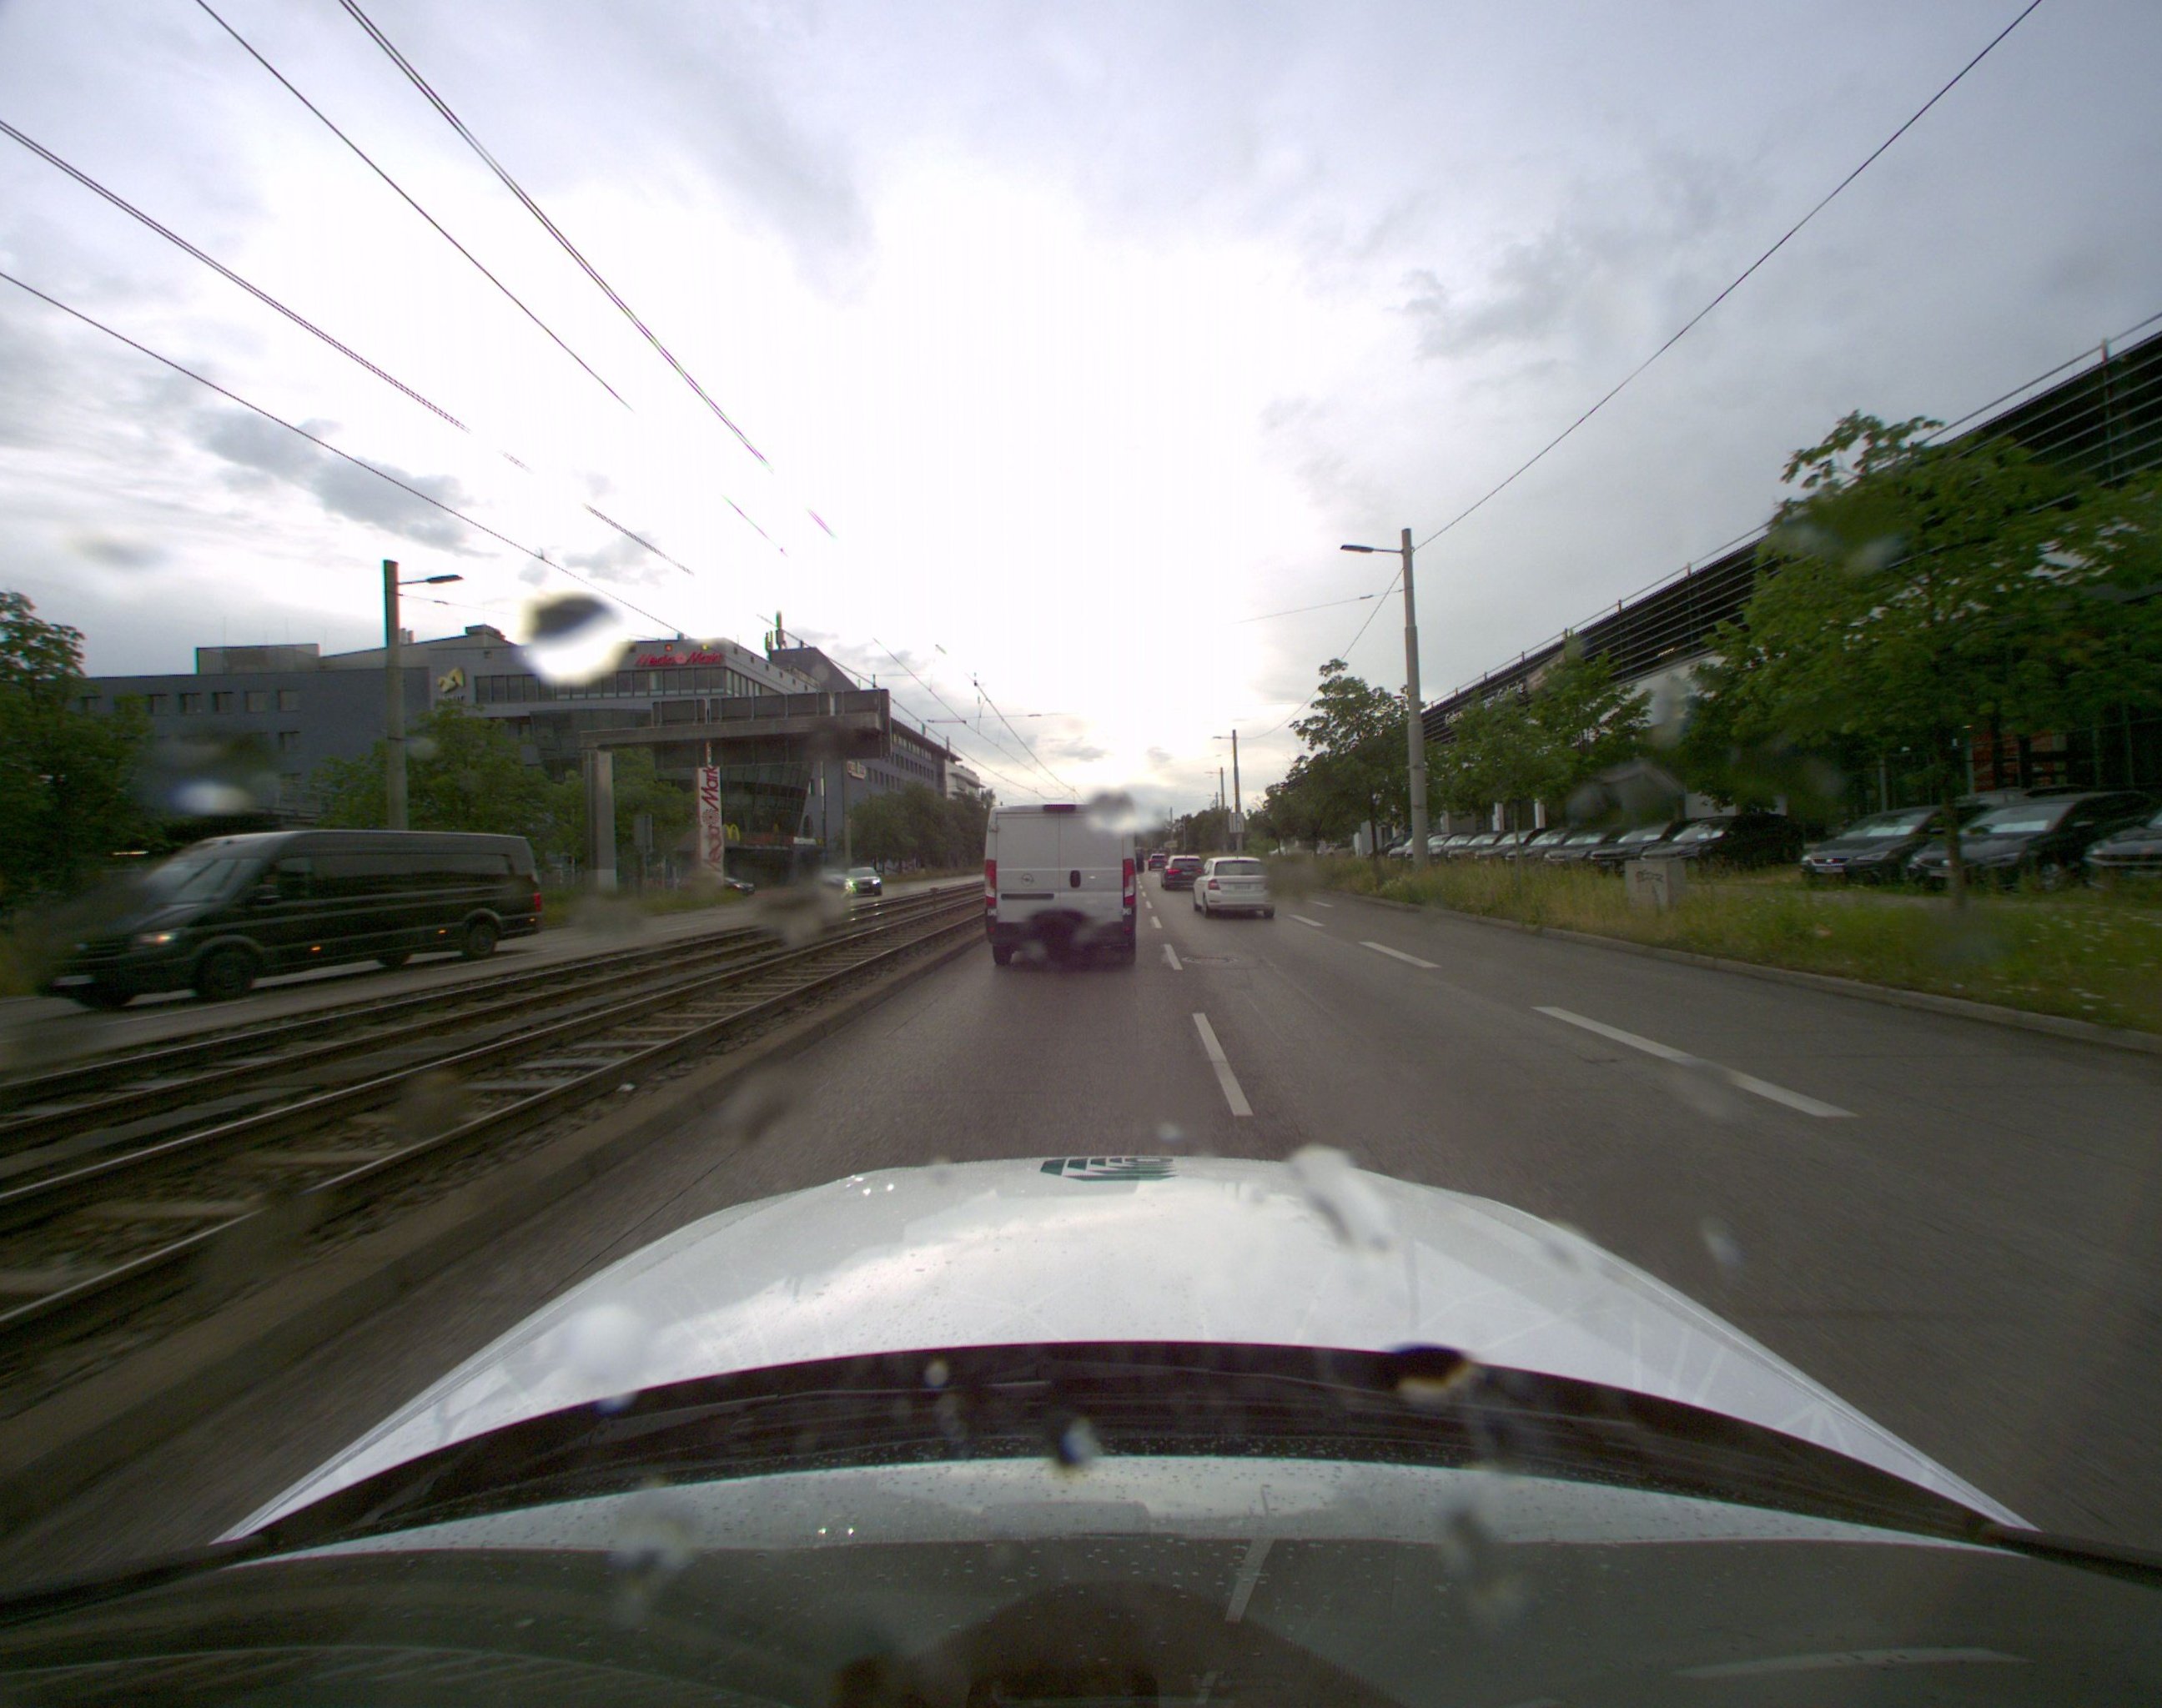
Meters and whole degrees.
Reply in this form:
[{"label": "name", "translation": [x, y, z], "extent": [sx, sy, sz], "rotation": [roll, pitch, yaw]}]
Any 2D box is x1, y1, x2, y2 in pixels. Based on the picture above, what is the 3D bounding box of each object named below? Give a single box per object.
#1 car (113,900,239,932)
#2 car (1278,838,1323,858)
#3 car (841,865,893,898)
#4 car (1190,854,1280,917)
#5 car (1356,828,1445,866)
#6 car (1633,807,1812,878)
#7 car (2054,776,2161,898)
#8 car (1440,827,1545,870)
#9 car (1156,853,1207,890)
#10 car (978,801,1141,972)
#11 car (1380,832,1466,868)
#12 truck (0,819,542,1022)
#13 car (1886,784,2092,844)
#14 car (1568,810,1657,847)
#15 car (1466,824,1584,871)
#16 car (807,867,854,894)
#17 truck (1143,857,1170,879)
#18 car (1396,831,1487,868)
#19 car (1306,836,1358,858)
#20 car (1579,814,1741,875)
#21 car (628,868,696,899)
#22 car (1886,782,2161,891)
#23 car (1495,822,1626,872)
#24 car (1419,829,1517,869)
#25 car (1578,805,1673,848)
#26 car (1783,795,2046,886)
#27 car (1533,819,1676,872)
[{"label": "car", "translation": [-44.877, 3.037, 40.460], "extent": [1.642, 1.282, 4.134], "rotation": [0, 0, 41]}, {"label": "car", "translation": [20.945, -0.559, 77.566], "extent": [4.116, 1.568, 1.780], "rotation": [-4, -1, -33]}, {"label": "car", "translation": [-10.605, 1.323, 40.624], "extent": [1.801, 1.429, 4.226], "rotation": [-4, 0, -7]}, {"label": "car", "translation": [3.807, 0.730, 20.634], "extent": [1.739, 1.457, 3.673], "rotation": [0, 0, 2]}, {"label": "car", "translation": [18.918, -0.385, 48.227], "extent": [4.662, 1.876, 1.836], "rotation": [-4, 0, 27]}, {"label": "car", "translation": [17.325, -0.304, 22.023], "extent": [4.054, 1.576, 1.723], "rotation": [-4, 0, -17]}, {"label": "car", "translation": [16.944, -0.384, 11.623], "extent": [4.484, 1.663, 1.816], "rotation": [-4, 0, -9]}, {"label": "car", "translation": [18.170, -0.246, 35.970], "extent": [4.155, 1.569, 1.813], "rotation": [-4, 0, -22]}, {"label": "car", "translation": [4.176, 0.693, 34.374], "extent": [1.782, 1.449, 4.003], "rotation": [-1, 0, 2]}, {"label": "car", "translation": [-0.135, 0.431, 13.053], "extent": [2.082, 2.196, 5.065], "rotation": [-1, 0, 3]}, {"label": "car", "translation": [18.682, -0.225, 44.508], "extent": [4.344, 1.612, 1.853], "rotation": [-4, 0, -26]}, {"label": "truck", "translation": [-13.215, 0.900, 14.396], "extent": [2.229, 2.564, 7.021], "rotation": [-4, 0, 3]}, {"label": "car", "translation": [26.000, -1.091, 23.555], "extent": [1.659, 1.472, 3.901], "rotation": [-3, 0, 2]}, {"label": "car", "translation": [31.989, -1.524, 49.068], "extent": [4.010, 1.976, 1.946], "rotation": [-3, 0, 2]}, {"label": "car", "translation": [18.017, -0.253, 33.085], "extent": [4.153, 1.569, 1.896], "rotation": [-4, 0, -20]}, {"label": "car", "translation": [-15.910, 1.659, 51.687], "extent": [1.613, 1.536, 2.914], "rotation": [-6, 2, -44]}, {"label": "truck", "translation": [6.713, 1.221, 72.845], "extent": [1.986, 1.790, 4.415], "rotation": [-3, 0, 1]}, {"label": "car", "translation": [18.439, -0.206, 41.616], "extent": [4.158, 1.562, 1.855], "rotation": [-4, 0, -23]}, {"label": "car", "translation": [21.032, -0.590, 68.103], "extent": [4.112, 1.465, 1.731], "rotation": [-4, -1, -30]}, {"label": "car", "translation": [17.587, -0.283, 24.770], "extent": [4.149, 1.534, 1.784], "rotation": [-4, 0, -17]}, {"label": "car", "translation": [-31.355, 2.180, 61.074], "extent": [3.979, 2.013, 1.997], "rotation": [-3, 0, -4]}, {"label": "car", "translation": [17.115, -0.338, 14.342], "extent": [4.484, 1.569, 1.816], "rotation": [-4, 0, -9]}, {"label": "car", "translation": [17.836, -0.260, 30.320], "extent": [4.149, 1.528, 1.821], "rotation": [-4, 0, -17]}, {"label": "car", "translation": [18.430, -0.232, 38.809], "extent": [4.155, 1.604, 1.813], "rotation": [-4, 0, -22]}, {"label": "car", "translation": [27.350, -1.314, 41.100], "extent": [1.879, 1.938, 4.432], "rotation": [-3, 0, 2]}, {"label": "car", "translation": [17.033, -0.267, 16.722], "extent": [4.042, 1.501, 1.682], "rotation": [-4, 0, -9]}, {"label": "car", "translation": [17.740, -0.285, 27.639], "extent": [4.149, 1.458, 1.784], "rotation": [-4, 0, -17]}]
